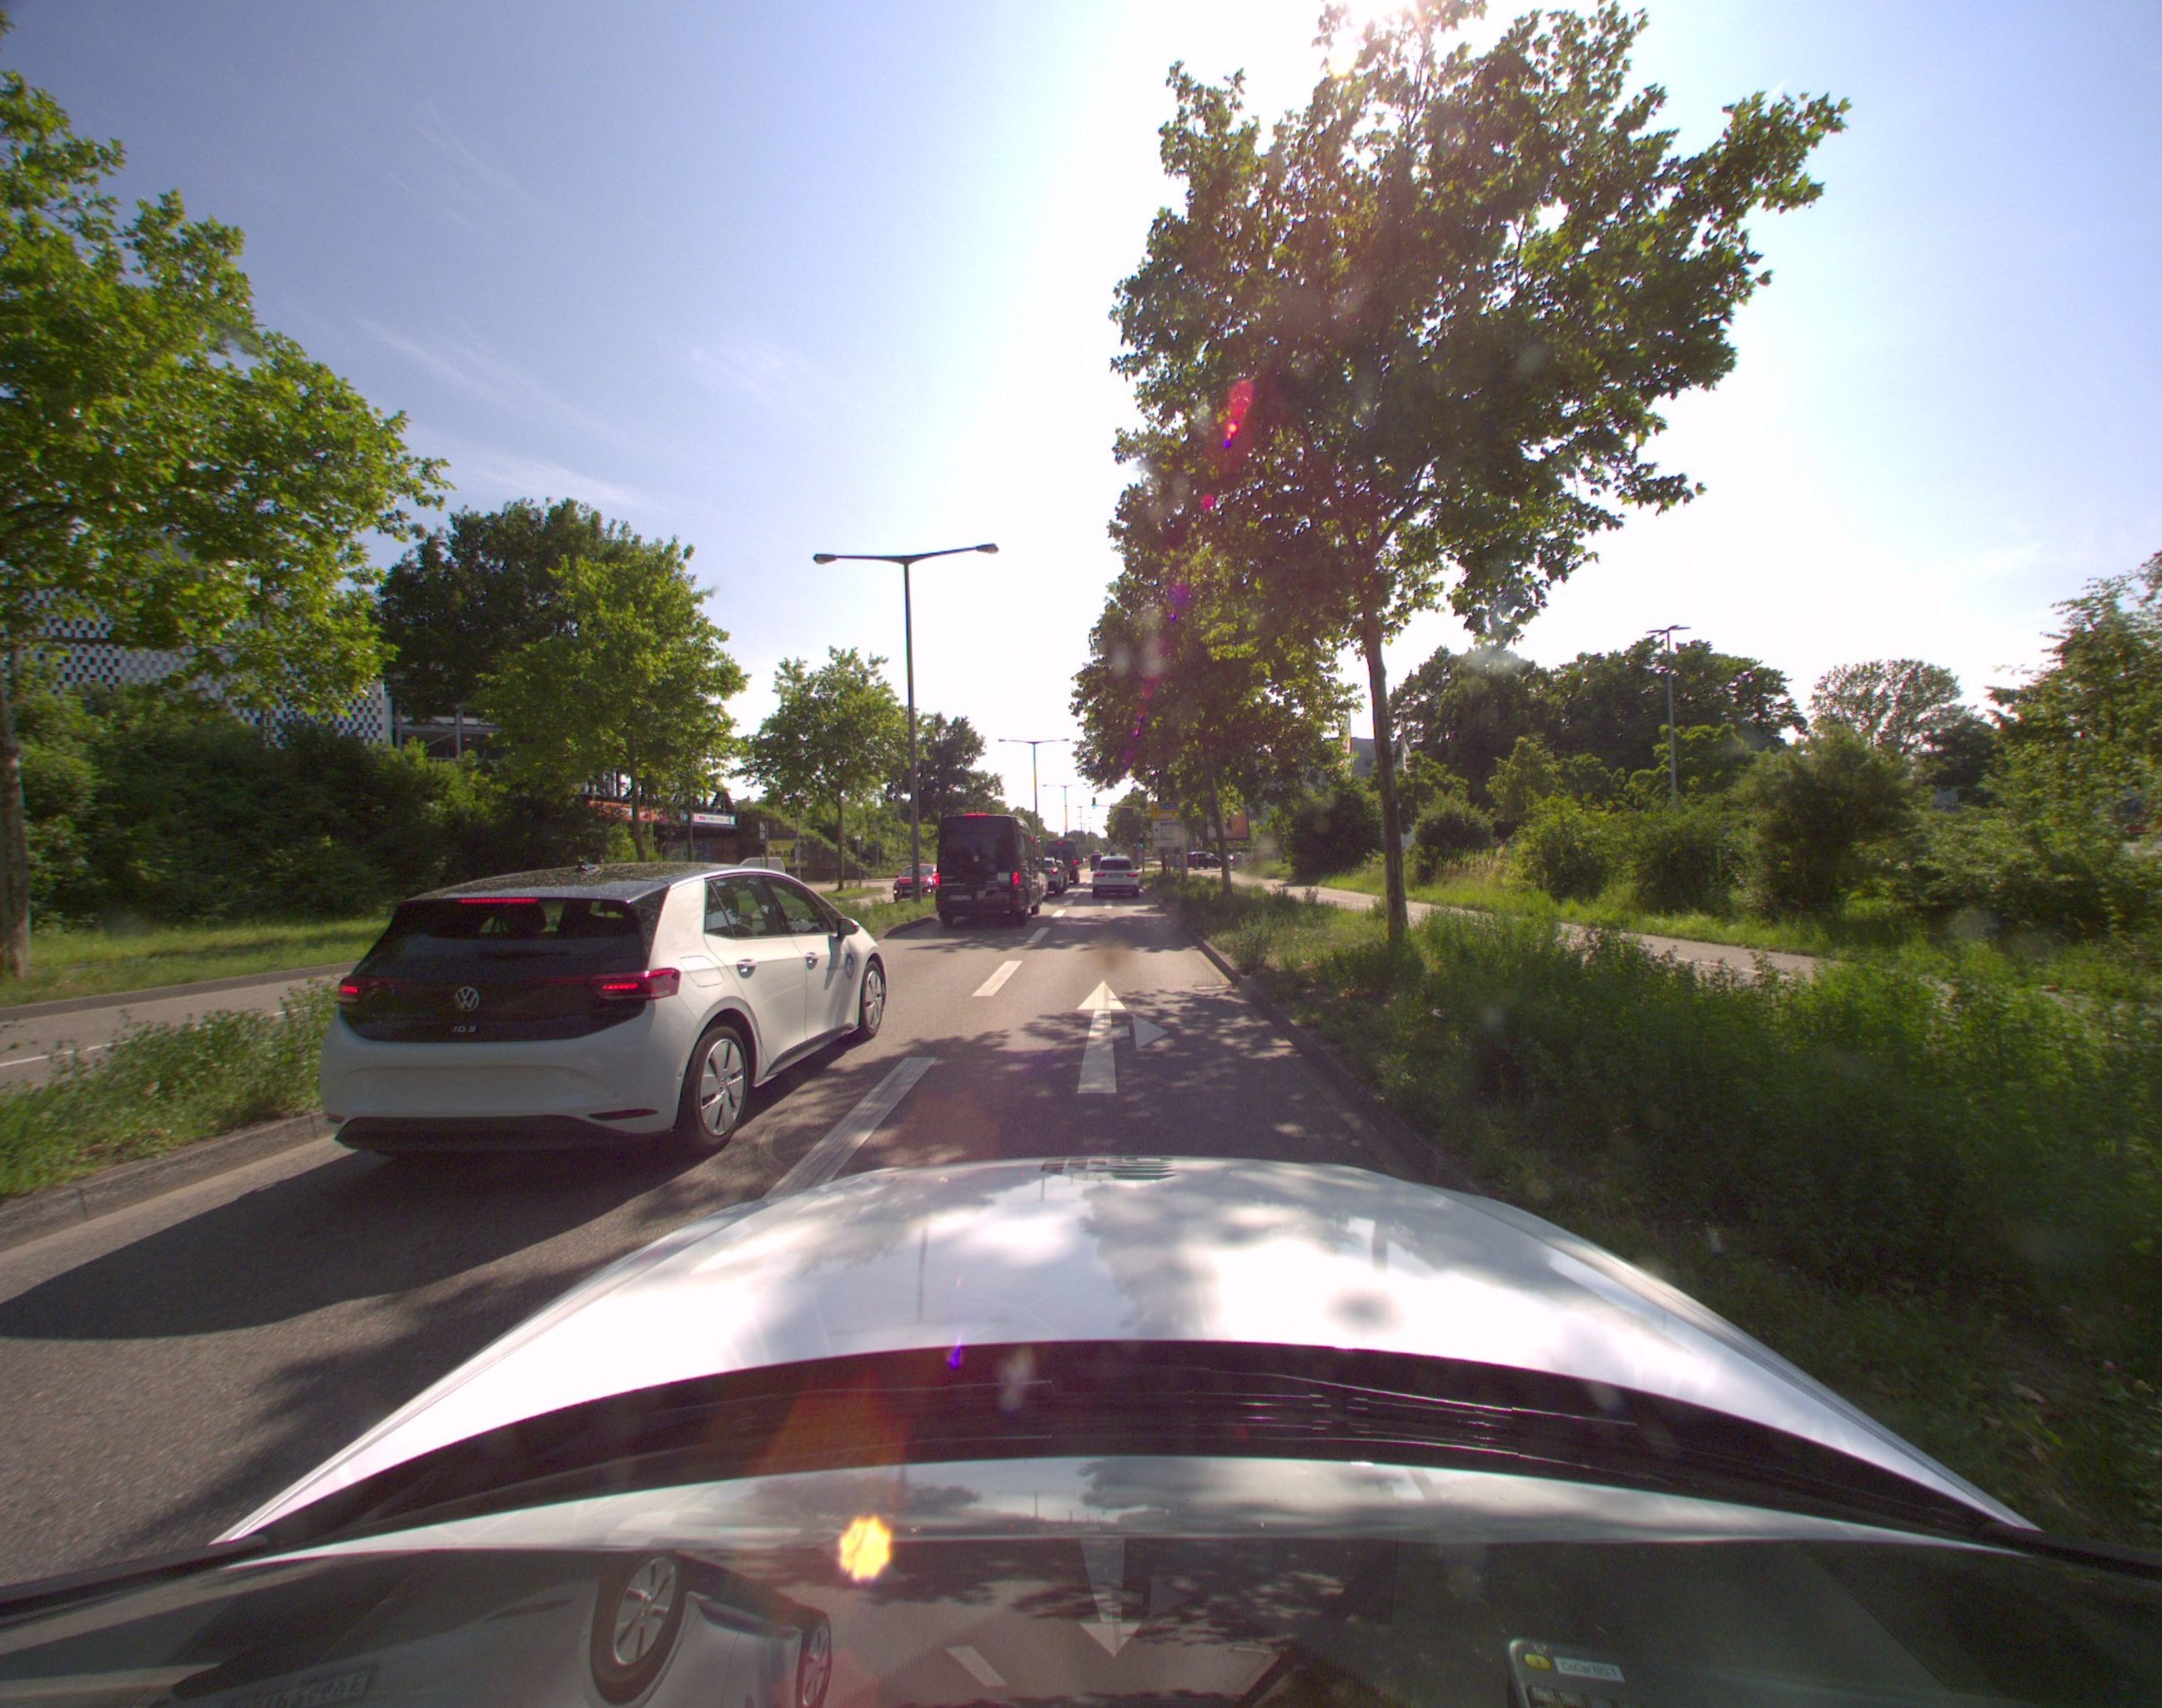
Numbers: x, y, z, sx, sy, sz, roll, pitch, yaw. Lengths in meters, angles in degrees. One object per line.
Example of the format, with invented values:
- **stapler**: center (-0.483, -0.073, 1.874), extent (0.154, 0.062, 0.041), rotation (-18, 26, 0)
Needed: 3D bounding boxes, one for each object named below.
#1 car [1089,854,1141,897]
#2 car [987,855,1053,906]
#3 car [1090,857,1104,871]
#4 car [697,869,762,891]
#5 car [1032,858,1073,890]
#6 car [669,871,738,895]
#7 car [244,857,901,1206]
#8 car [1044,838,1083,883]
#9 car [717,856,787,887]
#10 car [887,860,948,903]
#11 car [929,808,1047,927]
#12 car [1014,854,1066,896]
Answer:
- **car**: center (1.305, 0.804, 32.762), extent (1.849, 1.607, 3.997), rotation (0, 0, -2)
- **car**: center (-2.089, 0.875, 28.895), extent (1.764, 1.647, 4.355), rotation (-1, -1, 3)
- **car**: center (1.702, 1.090, 88.039), extent (1.458, 1.404, 3.478), rotation (-1, 0, 2)
- **car**: center (-26.908, 1.972, 62.342), extent (4.347, 1.426, 1.471), rotation (-2, 0, -33)
- **car**: center (-1.361, 0.962, 40.244), extent (1.684, 1.505, 3.888), rotation (0, 0, 2)
- **car**: center (-25.201, 1.918, 54.376), extent (4.013, 1.345, 1.864), rotation (-2, 0, -31)
- **car**: center (-2.733, 0.798, 5.713), extent (1.812, 1.521, 4.211), rotation (-1, 0, 2)
- **car**: center (-1.032, 0.421, 50.569), extent (2.073, 2.656, 4.877), rotation (0, -1, 3)
- **car**: center (-27.440, 1.444, 68.008), extent (5.158, 2.418, 1.979), rotation (-1, 0, -33)
- **car**: center (-6.594, 1.077, 33.254), extent (1.850, 1.583, 4.170), rotation (-1, 0, -3)
- **car**: center (-2.181, 0.327, 20.965), extent (2.008, 2.607, 6.172), rotation (-1, -1, 3)
- **car**: center (-1.683, 0.851, 34.482), extent (1.764, 1.647, 4.087), rotation (-1, -1, 3)
